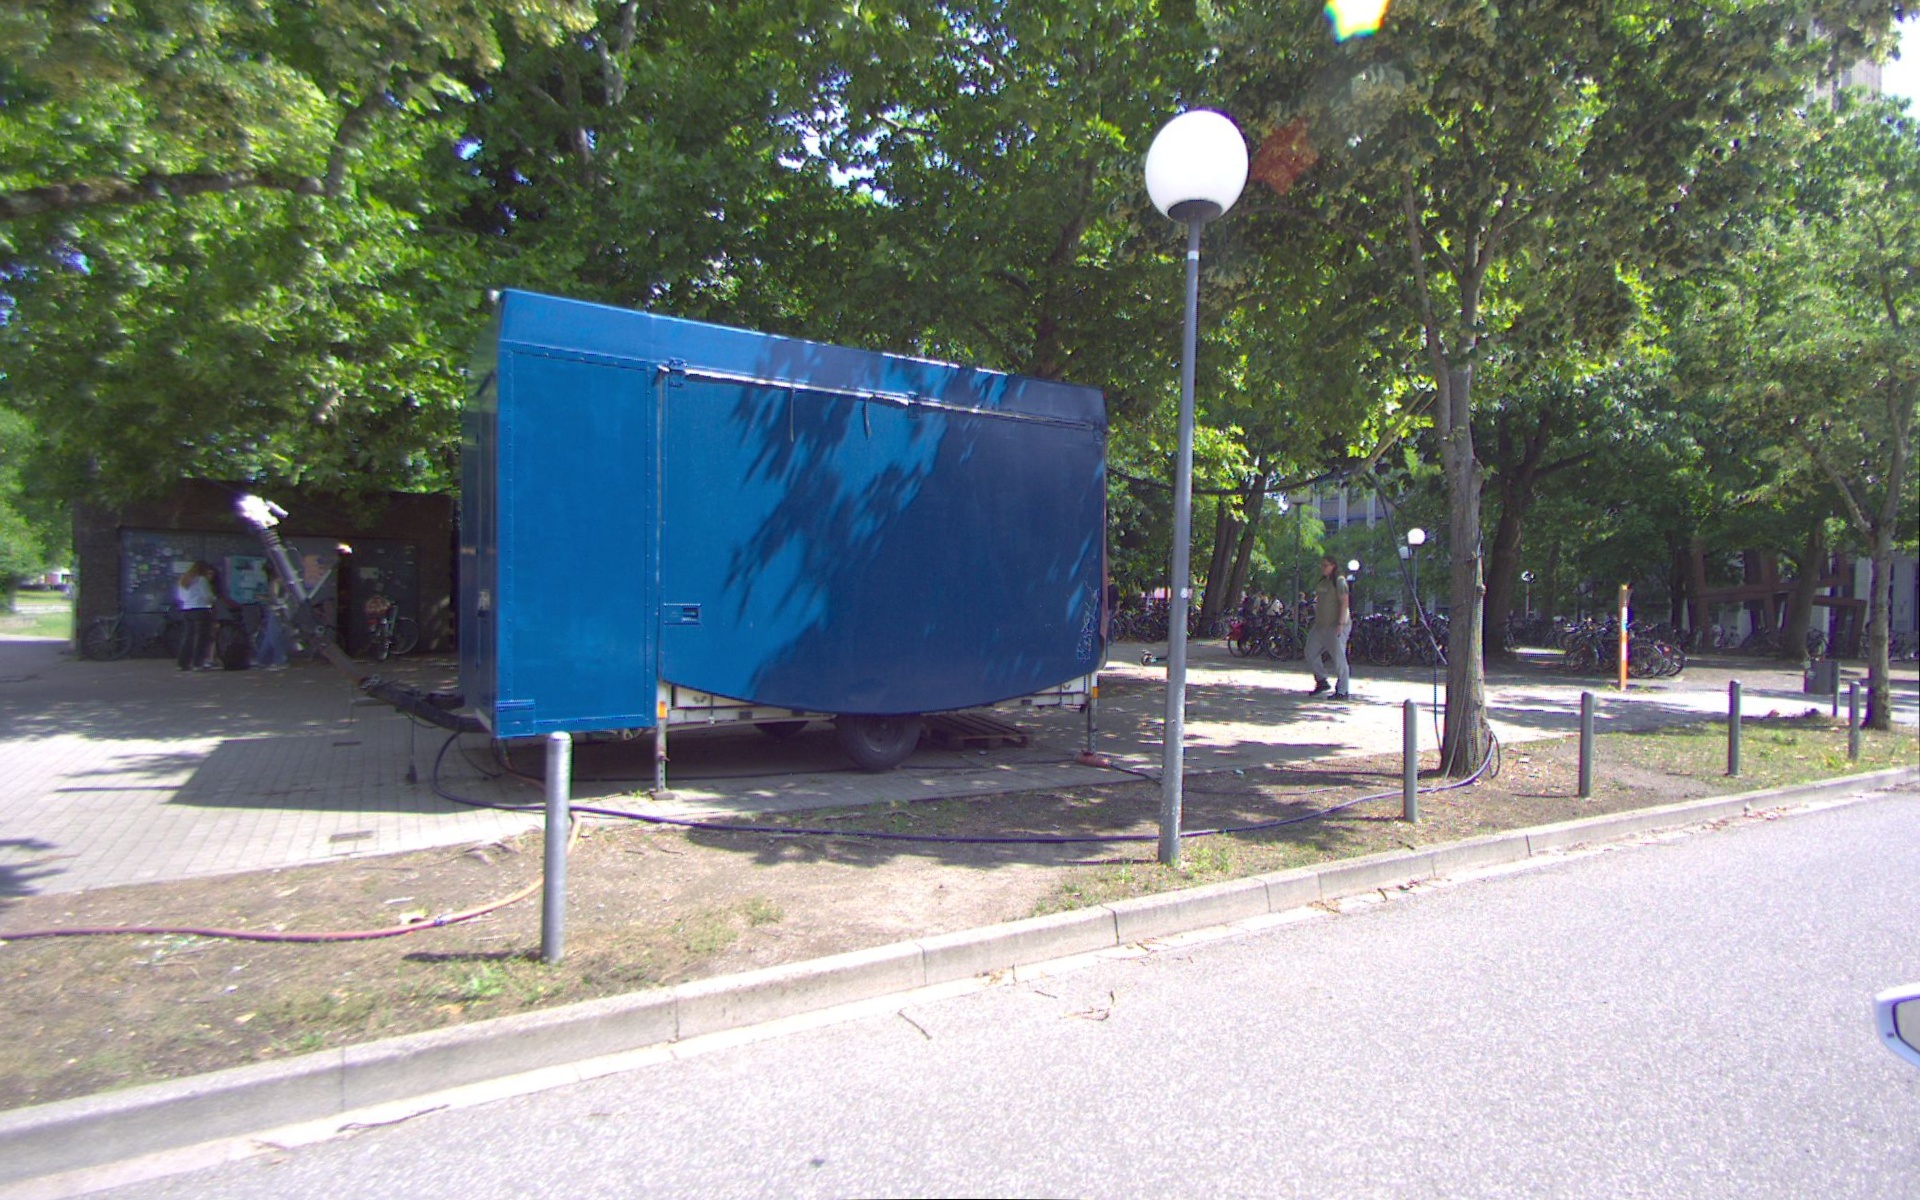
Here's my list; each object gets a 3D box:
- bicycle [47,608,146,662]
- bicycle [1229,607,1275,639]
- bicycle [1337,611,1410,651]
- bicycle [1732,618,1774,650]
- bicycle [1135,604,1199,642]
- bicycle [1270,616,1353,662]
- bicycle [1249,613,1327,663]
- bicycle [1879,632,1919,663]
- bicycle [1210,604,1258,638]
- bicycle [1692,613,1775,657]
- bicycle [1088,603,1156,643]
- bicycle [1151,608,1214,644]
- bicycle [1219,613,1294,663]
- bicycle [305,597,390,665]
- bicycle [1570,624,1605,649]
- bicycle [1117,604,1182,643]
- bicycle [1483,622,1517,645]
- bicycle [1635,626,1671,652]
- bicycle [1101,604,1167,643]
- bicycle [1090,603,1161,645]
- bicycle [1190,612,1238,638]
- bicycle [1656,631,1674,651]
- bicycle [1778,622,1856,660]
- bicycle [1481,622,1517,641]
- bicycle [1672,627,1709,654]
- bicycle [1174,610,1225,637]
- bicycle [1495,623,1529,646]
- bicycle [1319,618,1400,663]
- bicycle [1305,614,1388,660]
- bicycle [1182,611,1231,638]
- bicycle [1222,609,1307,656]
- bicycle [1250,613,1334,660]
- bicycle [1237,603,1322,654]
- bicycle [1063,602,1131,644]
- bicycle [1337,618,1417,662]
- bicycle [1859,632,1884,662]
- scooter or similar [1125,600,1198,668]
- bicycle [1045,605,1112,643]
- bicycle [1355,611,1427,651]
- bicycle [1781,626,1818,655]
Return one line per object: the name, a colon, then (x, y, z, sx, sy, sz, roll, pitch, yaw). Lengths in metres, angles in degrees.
bicycle: (-14.685, 0.602, 17.109, 1.217, 0.895, 0.302, 2, 0, -30)
bicycle: (11.924, 0.924, 41.047, 1.771, 1.223, 0.422, 3, 1, 43)
bicycle: (12.395, 0.917, 30.142, 1.932, 1.104, 0.546, 2, 1, 31)
bicycle: (32.535, 1.404, 41.179, 2.354, 1.269, 0.523, 1, 0, -30)
bicycle: (6.691, 0.736, 32.537, 1.927, 1.106, 0.595, 3, 0, 37)
bicycle: (8.785, 0.958, 25.193, 0.533, 1.041, 1.944, 1, 1, -41)
bicycle: (7.407, 0.847, 22.793, 0.531, 1.028, 1.795, 1, 1, -28)
bicycle: (35.194, 1.775, 37.655, 1.950, 1.101, 0.549, 2, 2, -31)
bicycle: (10.769, 0.818, 39.505, 1.771, 1.223, 0.422, 3, 1, 43)
bicycle: (27.981, 1.242, 36.367, 2.248, 1.469, 0.606, 2, 0, 27)
bicycle: (4.865, 0.678, 30.244, 1.927, 1.106, 0.595, 3, 0, 37)
bicycle: (7.375, 0.850, 33.366, 1.927, 1.106, 0.595, 3, 0, 37)
bicycle: (6.730, 0.841, 22.880, 0.531, 1.028, 1.795, 1, 1, -28)
bicycle: (-10.612, 0.530, 17.417, 1.322, 1.091, 0.417, 2, -1, 16)
bicycle: (29.255, 1.710, 46.814, 1.950, 1.101, 0.549, 2, 2, -31)
bicycle: (5.948, 0.738, 31.619, 1.927, 1.106, 0.595, 3, 0, 37)
bicycle: (27.307, 1.714, 50.791, 1.950, 1.101, 0.549, 2, 2, -31)
bicycle: (30.935, 1.745, 44.849, 1.950, 1.101, 0.549, 2, 2, -31)
bicycle: (5.347, 0.722, 30.953, 1.927, 1.106, 0.595, 3, 0, 37)
bicycle: (4.813, 0.689, 29.192, 1.920, 1.106, 0.597, 3, 0, 21)
bicycle: (9.570, 0.927, 37.895, 1.740, 0.906, 0.417, 2, 1, 40)
bicycle: (29.353, 1.686, 41.834, 0.317, 0.773, 1.559, 2, 1, 25)
bicycle: (30.083, 1.416, 35.281, 1.983, 1.270, 0.587, 0, 0, 27)
bicycle: (26.169, 1.513, 48.748, 2.628, 0.882, 0.544, 1, 1, -38)
bicycle: (31.667, 1.749, 43.563, 1.950, 1.101, 0.549, 2, 2, -31)
bicycle: (8.607, 0.839, 36.155, 1.740, 0.906, 0.417, 2, 1, 40)
bicycle: (27.546, 1.710, 50.152, 1.950, 1.101, 0.549, 2, 2, -31)
bicycle: (10.801, 1.071, 27.177, 1.939, 1.104, 0.544, 2, 1, 43)
bicycle: (10.129, 0.949, 26.384, 1.939, 1.104, 0.534, 2, 1, 42)
bicycle: (9.072, 0.893, 37.016, 1.740, 0.906, 0.417, 2, 1, 40)
bicycle: (7.232, 0.754, 23.944, 0.533, 1.017, 1.944, 1, 1, -41)
bicycle: (8.154, 0.890, 24.770, 0.533, 1.041, 1.944, 1, 1, -41)
bicycle: (7.713, 0.668, 24.345, 0.533, 1.141, 1.944, 1, 1, -41)
bicycle: (3.885, 0.650, 28.547, 0.593, 1.106, 1.933, 3, 0, -43)
bicycle: (11.539, 1.083, 27.828, 1.939, 1.104, 0.544, 2, 1, 43)
bicycle: (31.592, 1.616, 34.803, 1.644, 0.978, 0.471, 2, 0, -43)
scooter or similar: (3.955, 0.664, 19.692, 1.227, 1.263, 0.695, 1, 1, -31)
bicycle: (3.236, 0.658, 27.578, 0.543, 0.955, 1.859, 3, 0, -43)
bicycle: (13.192, 0.938, 30.763, 1.932, 1.104, 0.546, 2, 1, 31)
bicycle: (31.901, 1.549, 38.153, 1.829, 1.046, 0.473, 2, 0, -31)
